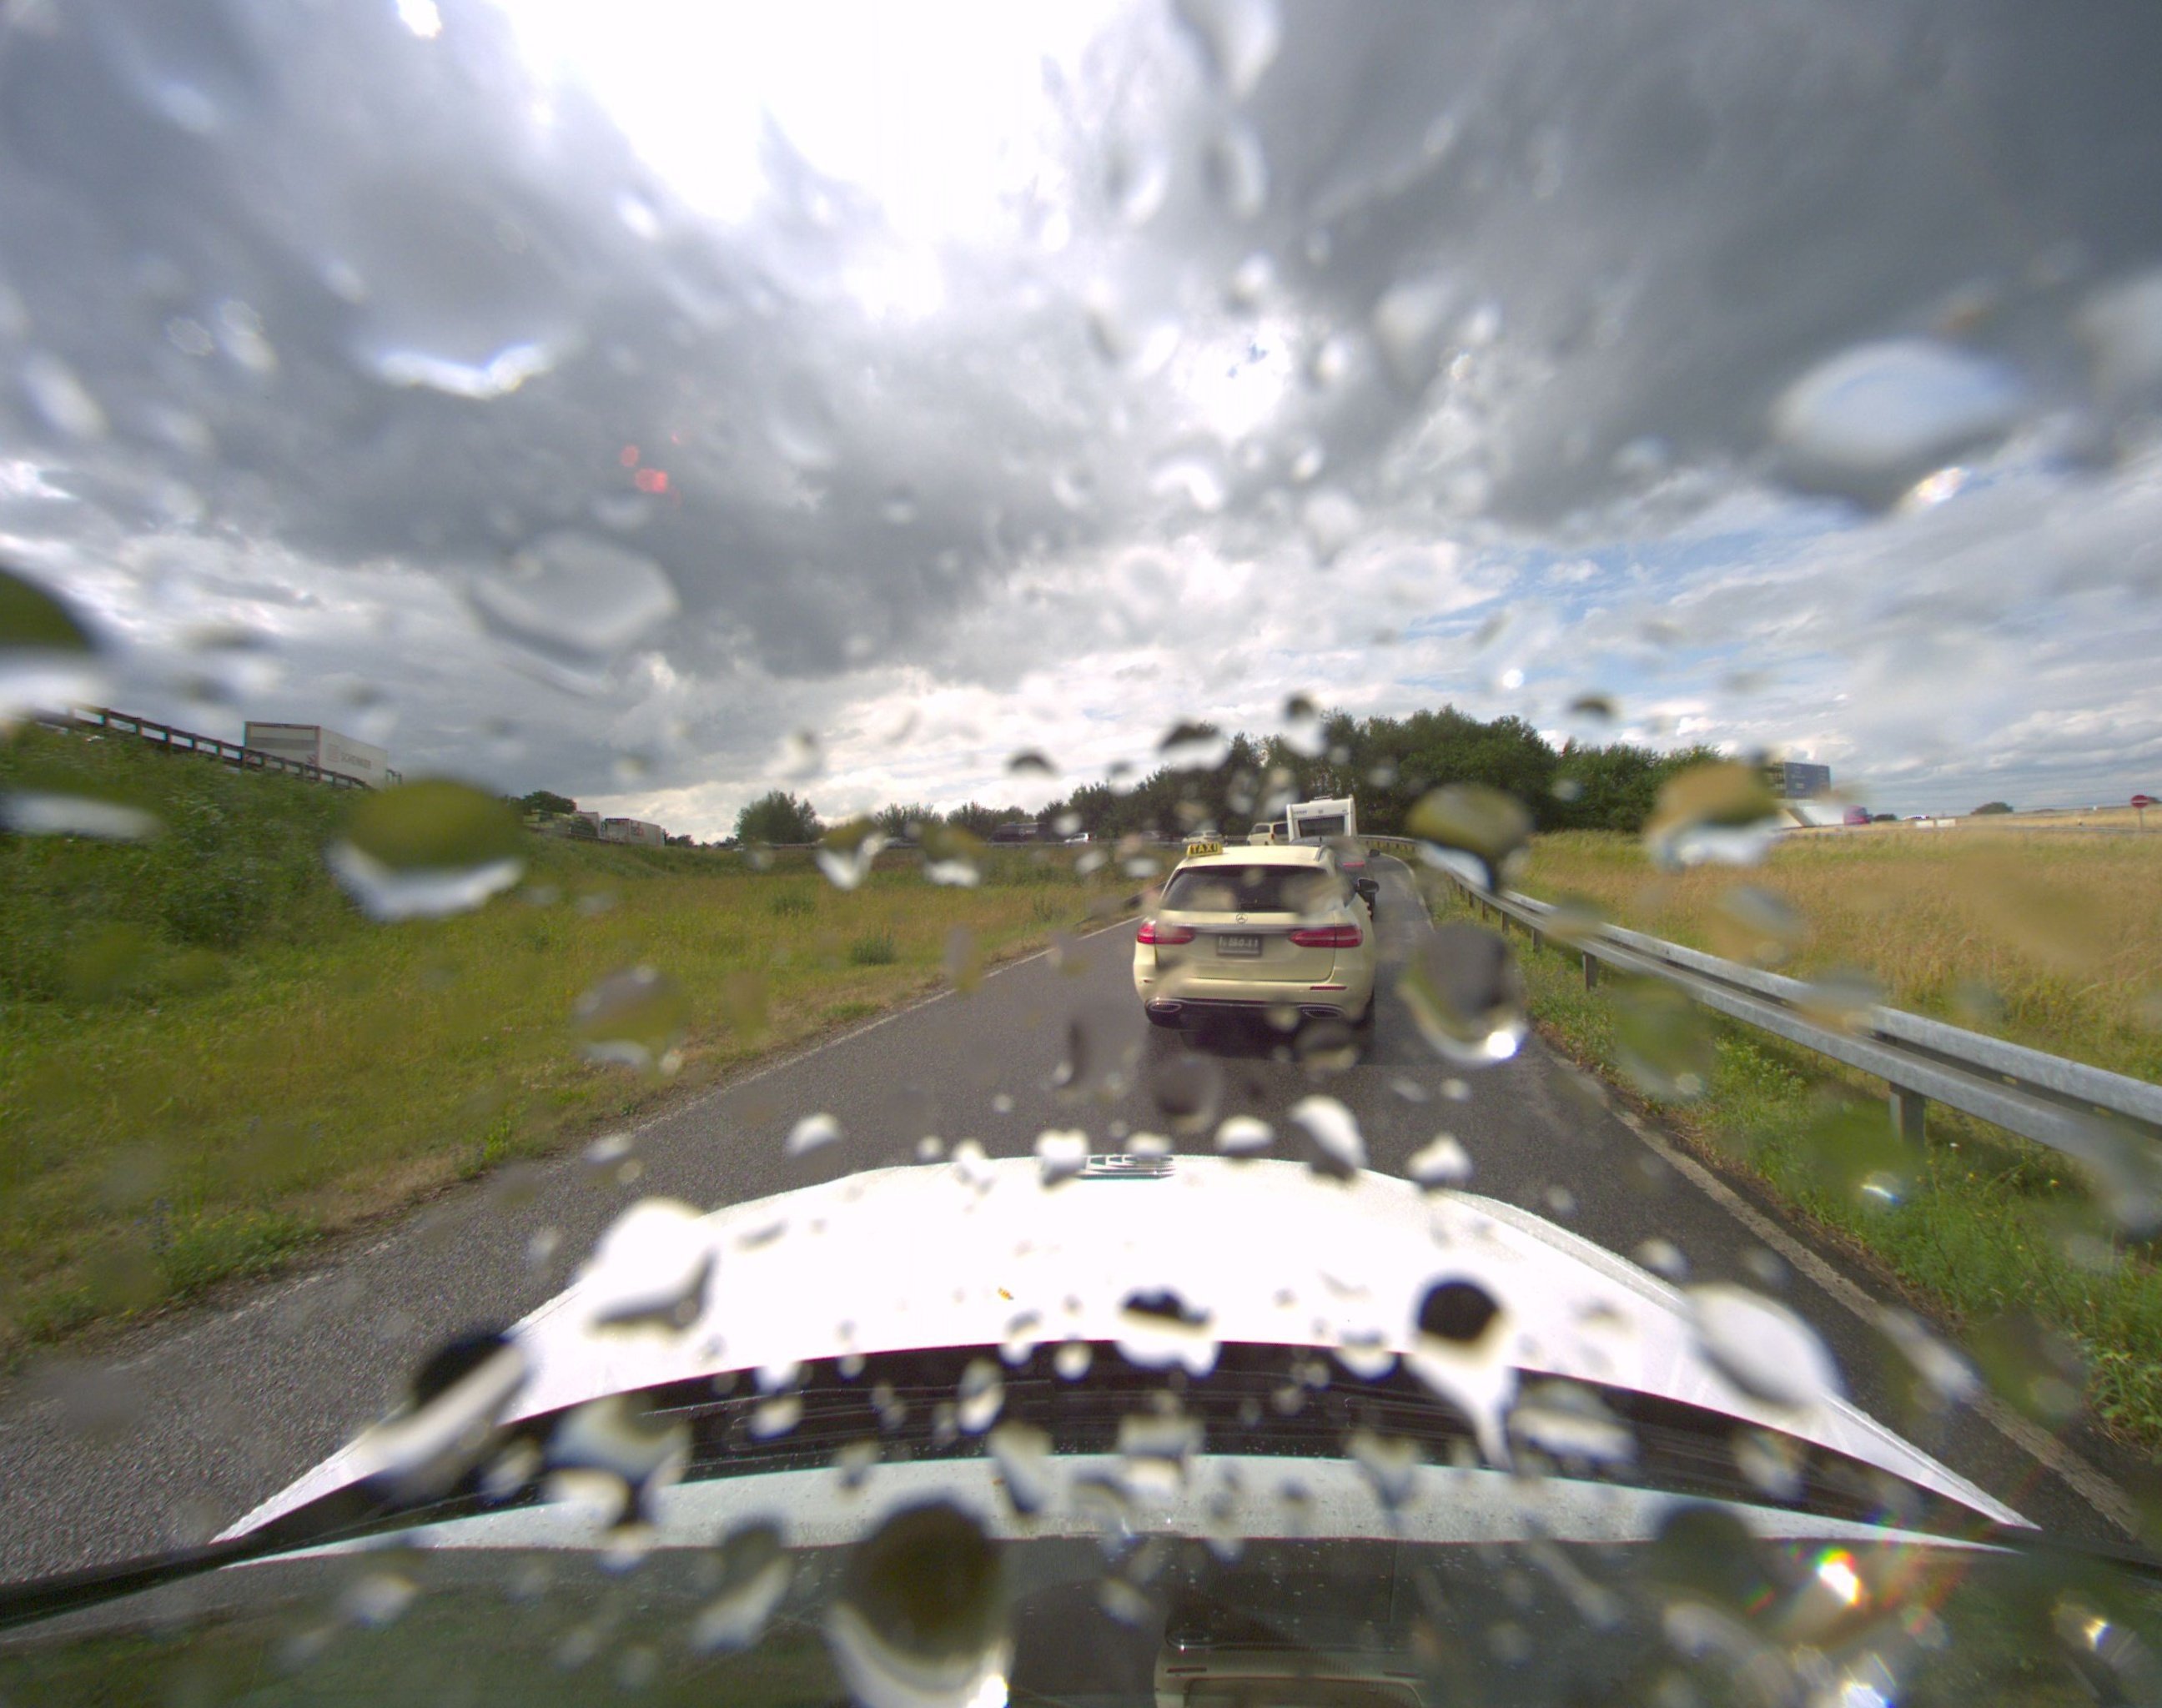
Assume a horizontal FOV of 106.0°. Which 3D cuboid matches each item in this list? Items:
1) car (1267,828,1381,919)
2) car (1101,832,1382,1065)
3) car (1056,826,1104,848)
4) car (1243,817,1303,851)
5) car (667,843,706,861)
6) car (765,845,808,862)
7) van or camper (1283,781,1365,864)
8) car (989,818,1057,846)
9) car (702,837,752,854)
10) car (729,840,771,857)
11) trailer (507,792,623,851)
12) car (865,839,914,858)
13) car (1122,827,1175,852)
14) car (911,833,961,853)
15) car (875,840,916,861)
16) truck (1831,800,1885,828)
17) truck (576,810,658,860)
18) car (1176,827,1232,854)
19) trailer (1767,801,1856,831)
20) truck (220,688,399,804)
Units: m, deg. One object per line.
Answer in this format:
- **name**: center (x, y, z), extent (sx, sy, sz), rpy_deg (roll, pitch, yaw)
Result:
- **car**: center (4.839, 0.332, 15.841), extent (1.703, 1.525, 4.021), rpy_deg (-2, 0, 22)
- **car**: center (1.789, 0.563, 7.797), extent (1.900, 1.507, 4.618), rpy_deg (0, 2, 18)
- **car**: center (-0.162, -1.622, 80.803), extent (2.010, 1.861, 4.999), rpy_deg (-2, -1, -38)
- **car**: center (12.431, -1.258, 53.200), extent (1.993, 1.861, 5.041), rpy_deg (-3, -1, -9)
- **car**: center (-45.926, -0.217, 94.906), extent (4.004, 2.014, 1.812), rpy_deg (-1, -3, -23)
- **car**: center (-36.210, -0.045, 100.106), extent (4.470, 1.861, 2.005), rpy_deg (-3, -1, 8)
- **van or camper**: center (9.151, -1.026, 30.258), extent (2.410, 2.729, 6.032), rpy_deg (-1, -1, 21)
- **car**: center (-6.140, -2.326, 85.926), extent (6.893, 2.595, 2.894), rpy_deg (-2, 1, 37)
- **car**: center (-42.791, -1.015, 98.448), extent (5.018, 1.861, 2.002), rpy_deg (-3, -1, 4)
- **car**: center (-42.928, -0.681, 105.574), extent (4.995, 1.861, 2.011), rpy_deg (-3, -1, 24)
- **trailer**: center (-50.093, -2.852, 80.178), extent (4.424, 3.956, 20.096), rpy_deg (-1, -3, -17)
- **car**: center (-21.873, -0.598, 92.959), extent (5.002, 1.861, 2.008), rpy_deg (-3, -1, 16)
- **car**: center (5.990, -1.244, 72.412), extent (2.007, 1.861, 5.005), rpy_deg (-2, -1, -32)
- **car**: center (-16.089, -1.201, 90.324), extent (4.999, 1.861, 2.010), rpy_deg (-3, -1, 19)
- **car**: center (-21.231, -0.411, 93.281), extent (3.949, 2.012, 2.014), rpy_deg (-2, 7, 27)
- **truck**: center (98.935, -5.047, 103.707), extent (3.213, 3.135, 4.248), rpy_deg (0, -3, -34)
- **truck**: center (-55.738, -2.025, 98.728), extent (4.471, 4.504, 19.259), rpy_deg (-1, -3, -17)
- **car**: center (9.507, -1.036, 63.599), extent (2.002, 1.861, 5.020), rpy_deg (-3, -1, -22)
- **trailer**: center (96.388, -4.959, 107.579), extent (3.203, 3.211, 8.115), rpy_deg (0, -3, -33)
- **truck**: center (-37.291, -4.937, 39.935), extent (3.193, 3.967, 9.166), rpy_deg (-1, -3, -22)
